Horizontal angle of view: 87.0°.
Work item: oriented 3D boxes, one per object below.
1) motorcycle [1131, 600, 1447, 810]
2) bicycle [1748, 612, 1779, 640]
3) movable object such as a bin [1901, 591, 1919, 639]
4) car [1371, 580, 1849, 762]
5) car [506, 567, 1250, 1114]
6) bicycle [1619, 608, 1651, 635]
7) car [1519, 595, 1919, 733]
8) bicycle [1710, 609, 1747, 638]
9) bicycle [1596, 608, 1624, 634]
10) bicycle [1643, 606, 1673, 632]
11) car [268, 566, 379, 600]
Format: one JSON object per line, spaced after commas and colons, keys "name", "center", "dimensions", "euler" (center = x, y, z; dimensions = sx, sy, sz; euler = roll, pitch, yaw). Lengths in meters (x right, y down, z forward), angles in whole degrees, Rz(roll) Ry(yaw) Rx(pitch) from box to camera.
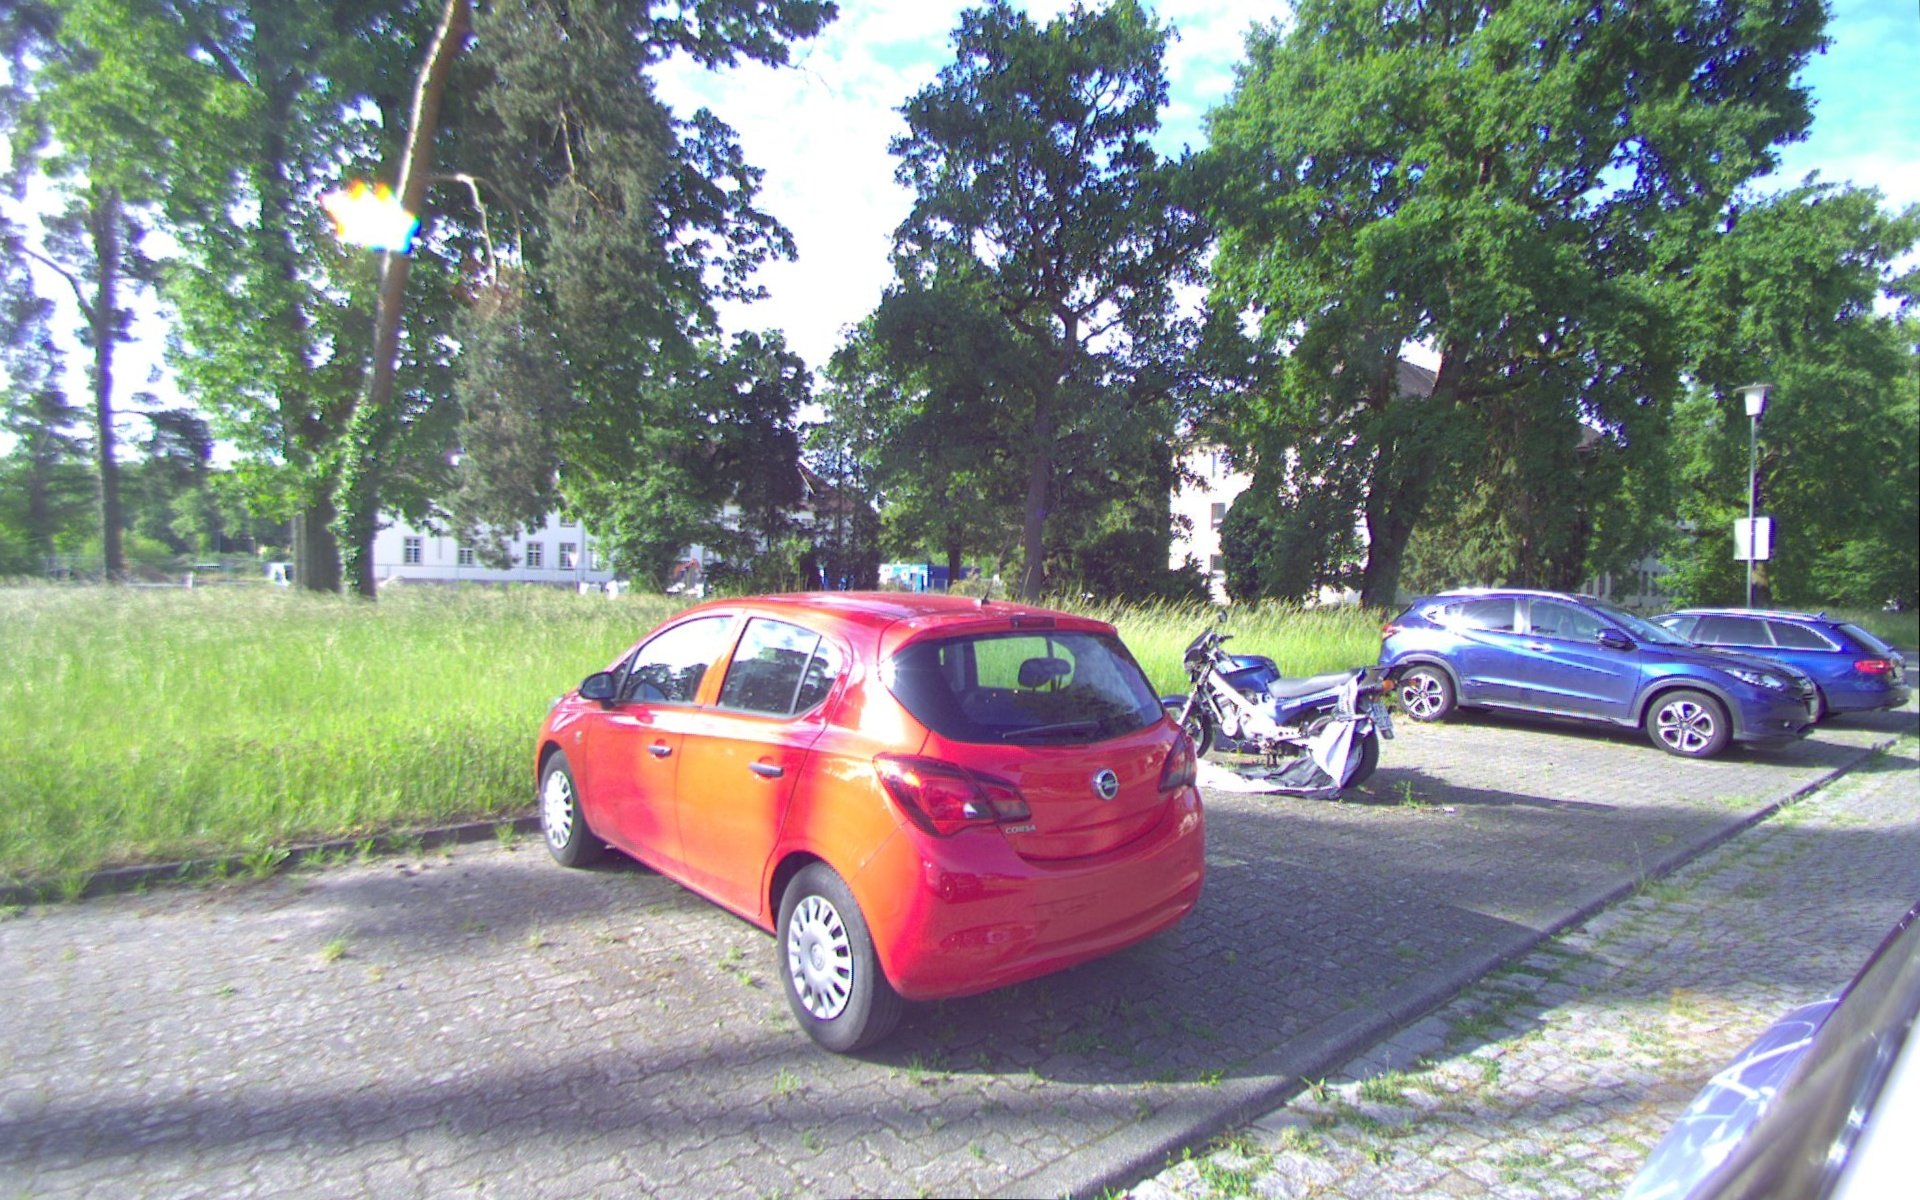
{"name": "motorcycle", "center": [2.491, 0.710, 7.972], "dimensions": [0.713, 1.336, 2.304], "euler": [1, 2, -40]}
{"name": "bicycle", "center": [29.063, 0.930, 36.603], "dimensions": [1.121, 0.946, 0.746], "euler": [1, 1, -44]}
{"name": "movable object such as a bin", "center": [37.766, 0.632, 36.698], "dimensions": [1.959, 1.781, 4.949], "euler": [1, 1, -25]}
{"name": "car", "center": [7.034, 0.612, 11.329], "dimensions": [1.720, 1.611, 4.185], "euler": [1, 1, -40]}
{"name": "car", "center": [-0.742, 0.638, 4.858], "dimensions": [1.616, 1.497, 3.835], "euler": [1, 2, -40]}
{"name": "bicycle", "center": [26.636, 0.847, 39.929], "dimensions": [1.007, 1.029, 0.711], "euler": [1, 1, -33]}
{"name": "car", "center": [10.596, 0.749, 14.228], "dimensions": [1.682, 1.425, 4.463], "euler": [1, 2, -37]}
{"name": "bicycle", "center": [28.150, 0.862, 37.080], "dimensions": [1.231, 1.029, 0.711], "euler": [1, 1, -33]}
{"name": "bicycle", "center": [25.871, 0.831, 40.275], "dimensions": [1.008, 1.029, 0.619], "euler": [1, 1, -38]}
{"name": "bicycle", "center": [29.515, 0.787, 42.800], "dimensions": [0.700, 1.029, 1.023], "euler": [1, 1, 12]}
{"name": "car", "center": [-42.867, -1.151, 68.333], "dimensions": [5.888, 2.198, 2.381], "euler": [0, 1, -18]}
